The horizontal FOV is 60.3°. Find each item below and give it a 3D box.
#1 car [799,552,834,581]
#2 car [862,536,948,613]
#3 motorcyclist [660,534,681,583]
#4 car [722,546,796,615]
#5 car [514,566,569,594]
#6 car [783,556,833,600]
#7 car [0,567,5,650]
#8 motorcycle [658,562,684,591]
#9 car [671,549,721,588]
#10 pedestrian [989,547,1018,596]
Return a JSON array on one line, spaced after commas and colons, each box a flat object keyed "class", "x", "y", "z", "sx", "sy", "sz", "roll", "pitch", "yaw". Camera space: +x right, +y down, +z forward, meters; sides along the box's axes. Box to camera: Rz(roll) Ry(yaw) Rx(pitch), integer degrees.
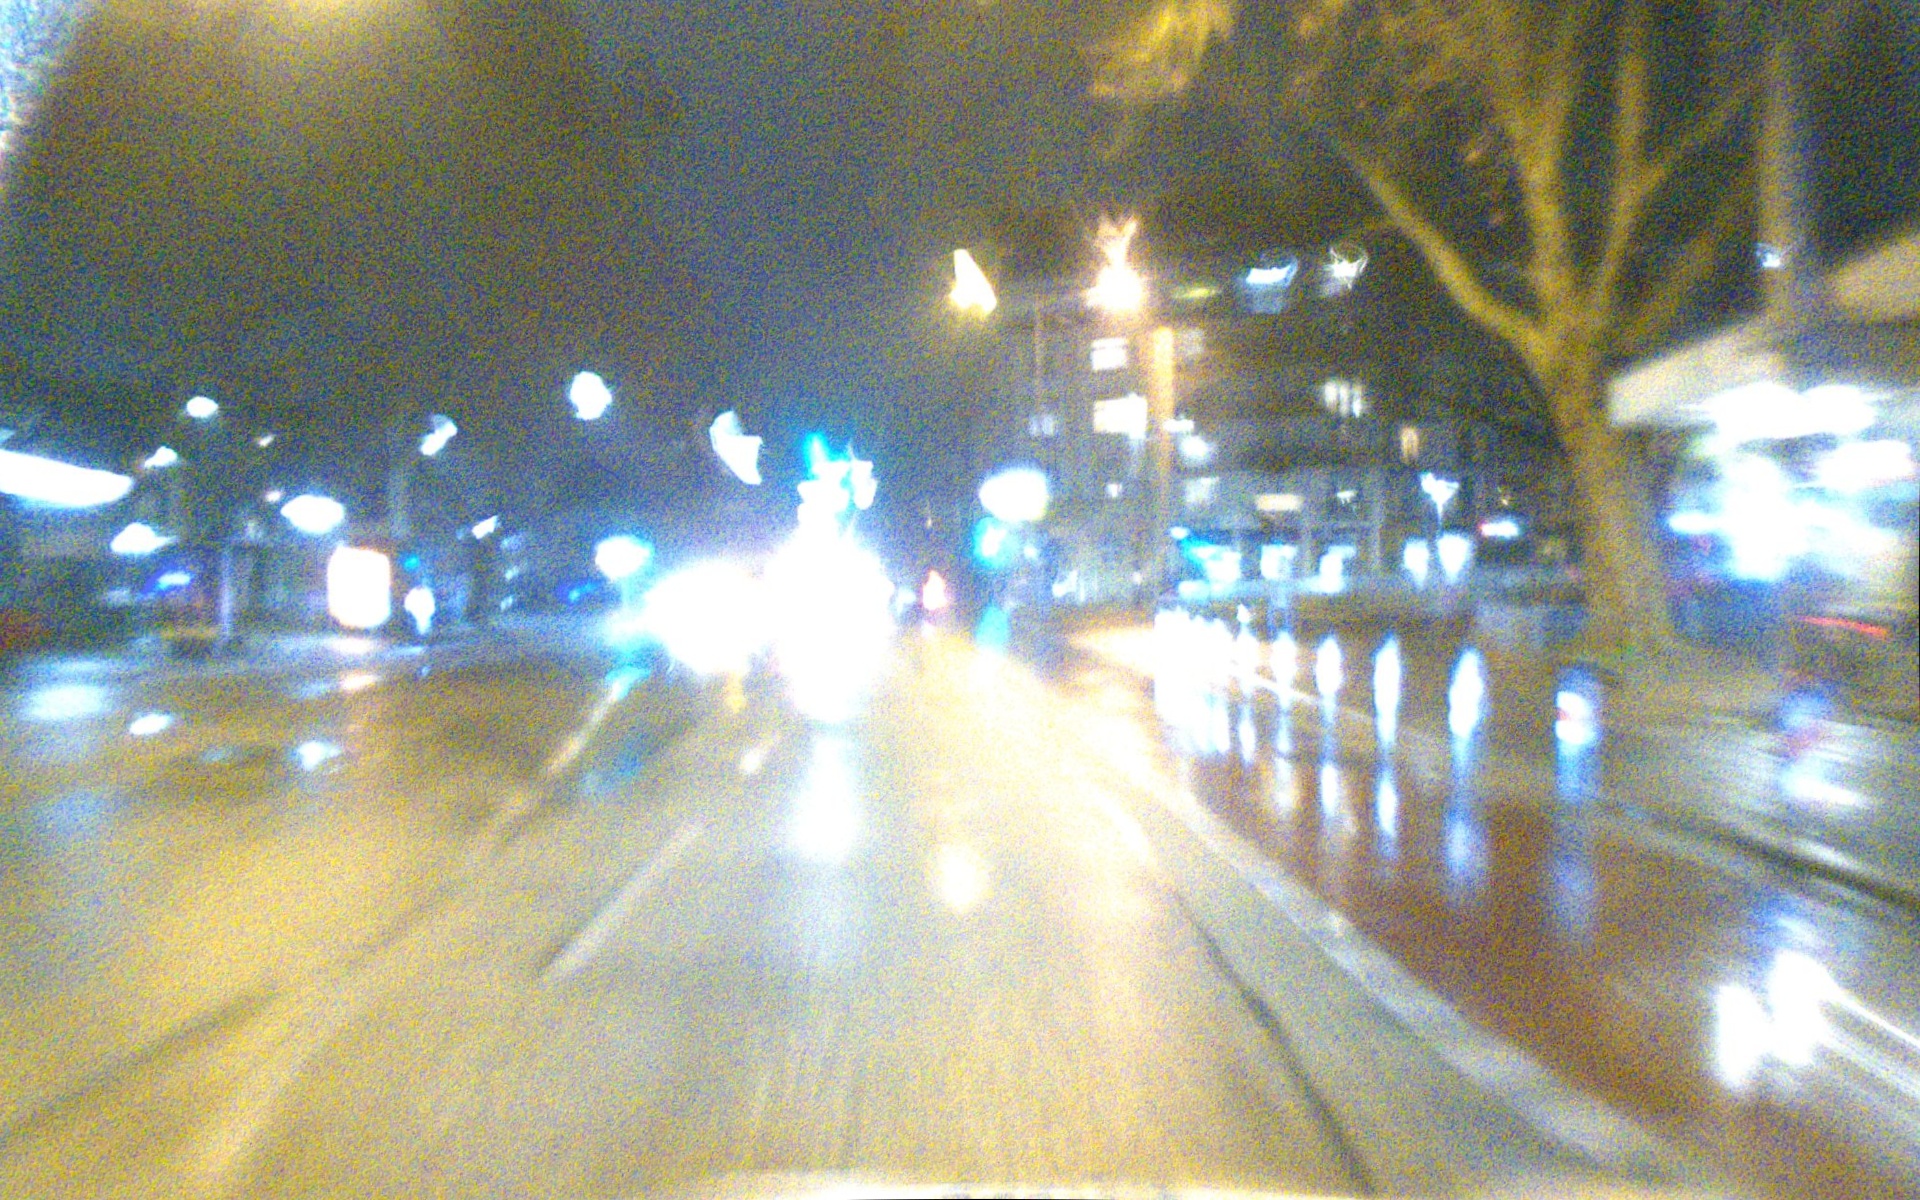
[{"class": "car", "x": -8.109, "y": -1.866, "z": 93.213, "sx": 1.675, "sy": 1.569, "sz": 3.980, "roll": -2, "pitch": 1, "yaw": -9}, {"class": "car", "x": -1.597, "y": -0.725, "z": 46.583, "sx": 2.126, "sy": 2.006, "sz": 4.298, "roll": -2, "pitch": 1, "yaw": -5}, {"class": "motorcyclist", "x": -12.406, "y": -1.783, "z": 70.892, "sx": 0.679, "sy": 2.048, "sz": 0.983, "roll": -2, "pitch": 1, "yaw": 1}, {"class": "car", "x": -6.358, "y": -0.678, "z": 52.817, "sx": 1.994, "sy": 1.987, "sz": 5.197, "roll": -4, "pitch": 2, "yaw": -4}, {"class": "car", "x": -29.311, "y": -1.430, "z": 115.876, "sx": 1.662, "sy": 1.730, "sz": 4.196, "roll": -1, "pitch": 3, "yaw": 19}, {"class": "car", "x": -5.824, "y": -0.848, "z": 62.969, "sx": 1.783, "sy": 1.569, "sz": 4.720, "roll": -1, "pitch": 1, "yaw": -6}, {"class": "car", "x": -18.236, "y": 0.215, "z": 27.507, "sx": 1.677, "sy": 1.456, "sz": 3.921, "roll": -1, "pitch": 1, "yaw": 18}, {"class": "motorcycle", "x": -12.373, "y": -1.013, "z": 70.856, "sx": 0.686, "sy": 1.158, "sz": 2.176, "roll": -2, "pitch": 2, "yaw": 1}, {"class": "car", "x": -10.906, "y": -1.331, "z": 68.651, "sx": 1.817, "sy": 1.525, "sz": 4.763, "roll": -2, "pitch": 2, "yaw": -7}, {"class": "pedestrian", "x": 1.680, "y": -1.106, "z": 63.677, "sx": 1.084, "sy": 1.857, "sz": 0.851, "roll": -2, "pitch": 1, "yaw": 2}]
